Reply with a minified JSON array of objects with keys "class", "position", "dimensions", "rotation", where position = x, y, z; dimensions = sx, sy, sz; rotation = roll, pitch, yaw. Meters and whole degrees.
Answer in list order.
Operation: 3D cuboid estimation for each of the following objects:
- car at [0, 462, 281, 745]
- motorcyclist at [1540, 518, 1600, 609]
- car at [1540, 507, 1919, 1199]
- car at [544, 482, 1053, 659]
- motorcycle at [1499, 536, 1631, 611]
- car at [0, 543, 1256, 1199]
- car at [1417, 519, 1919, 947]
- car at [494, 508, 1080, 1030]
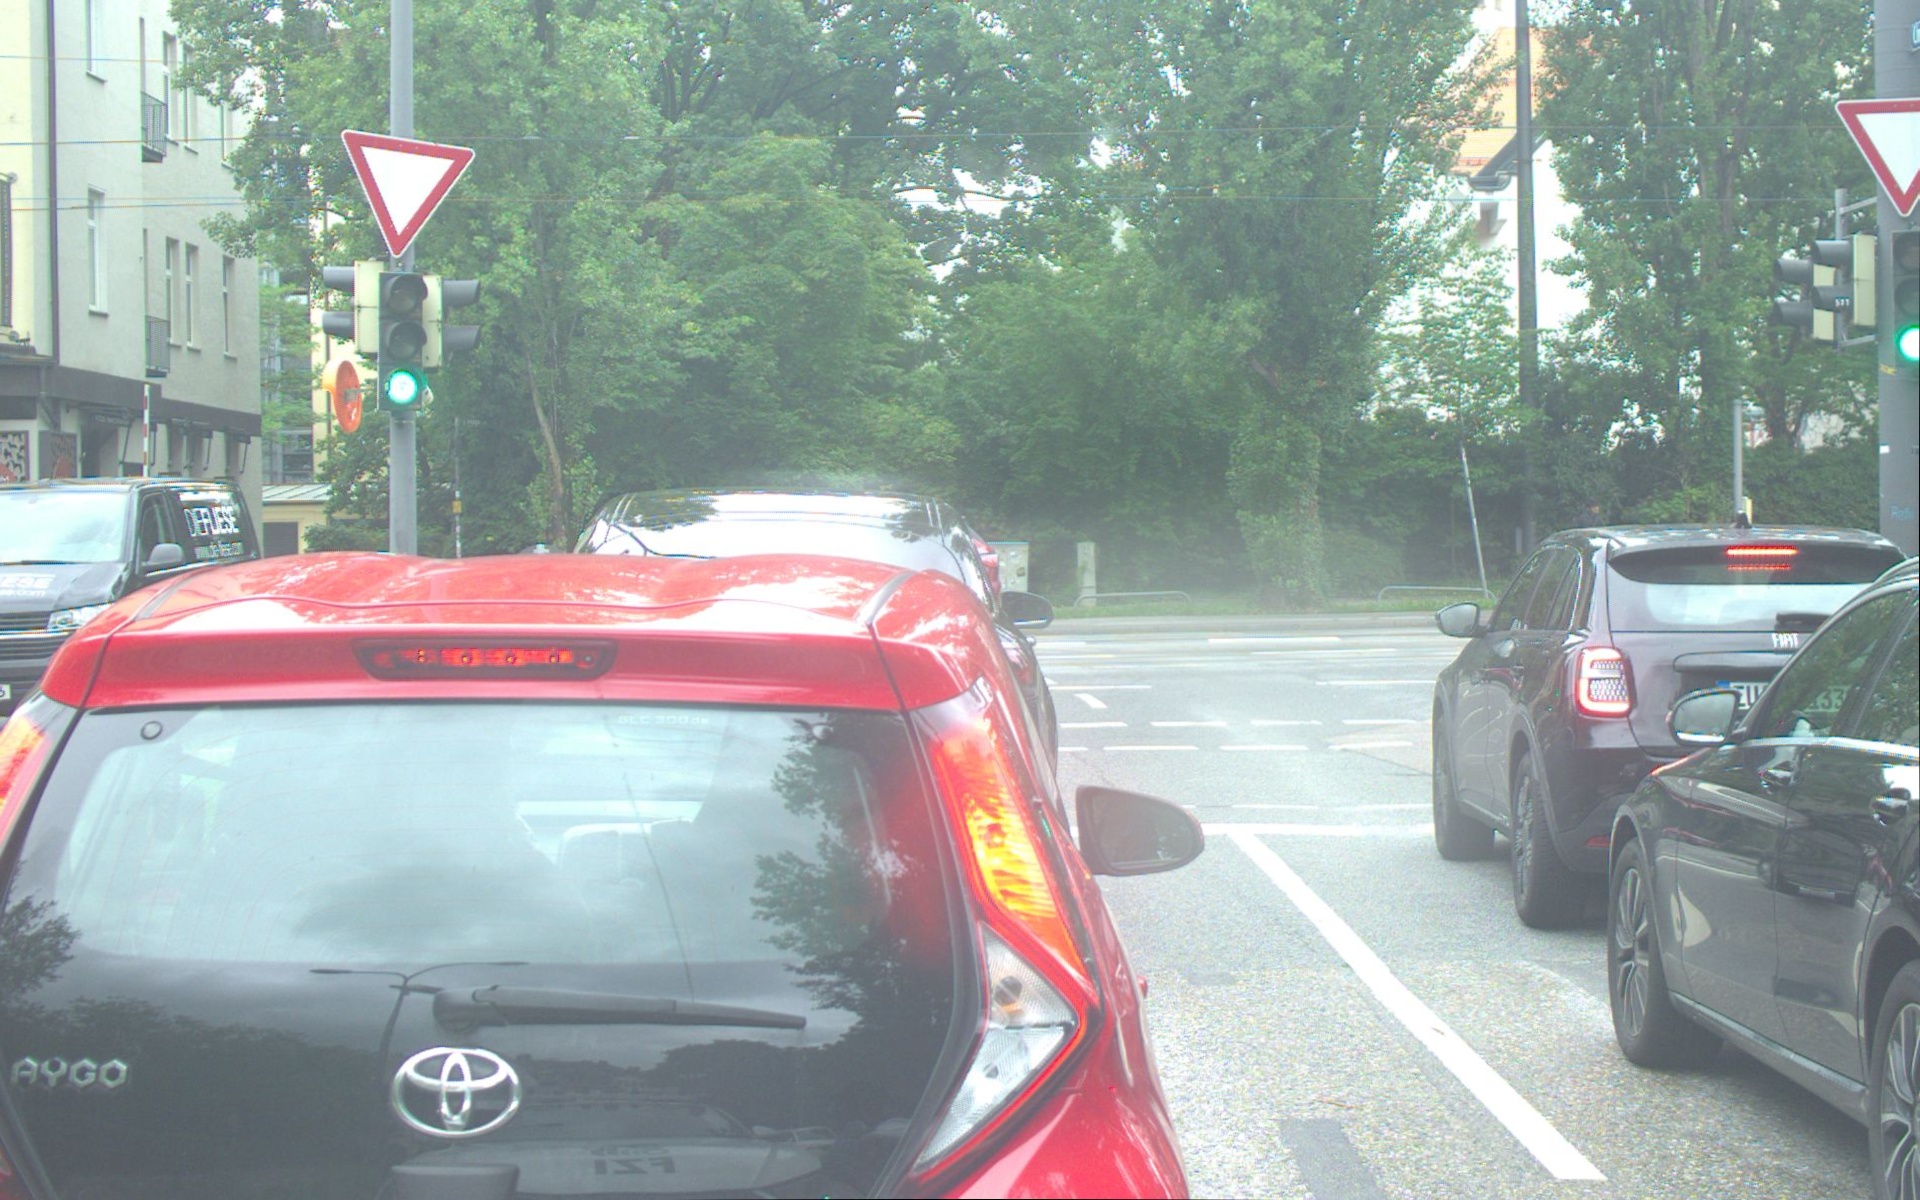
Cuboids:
[{"class":"car","position":[-6.836,-0.022,26.658],"dimensions":[1.857,1.984,4.704],"rotation":[-1,1,4]},{"class":"motorcyclist","position":[9.778,-0.583,55.156],"dimensions":[0.879,1.438,0.620],"rotation":[1,0,5]},{"class":"car","position":[2.705,0.576,8.017],"dimensions":[1.863,1.544,4.704],"rotation":[1,1,0]},{"class":"car","position":[-1.707,-0.350,35.816],"dimensions":[4.922,1.632,2.111],"rotation":[-2,2,-14]},{"class":"motorcycle","position":[9.704,-0.430,55.169],"dimensions":[2.023,1.165,0.630],"rotation":[1,0,5]},{"class":"car","position":[-0.506,0.659,5.034],"dimensions":[1.628,1.435,3.377],"rotation":[-1,1,1]},{"class":"car","position":[2.979,0.434,14.071],"dimensions":[1.781,1.481,4.000],"rotation":[-1,1,2]},{"class":"car","position":[-0.493,0.455,12.604],"dimensions":[1.736,1.544,4.576],"rotation":[-1,1,1]}]
